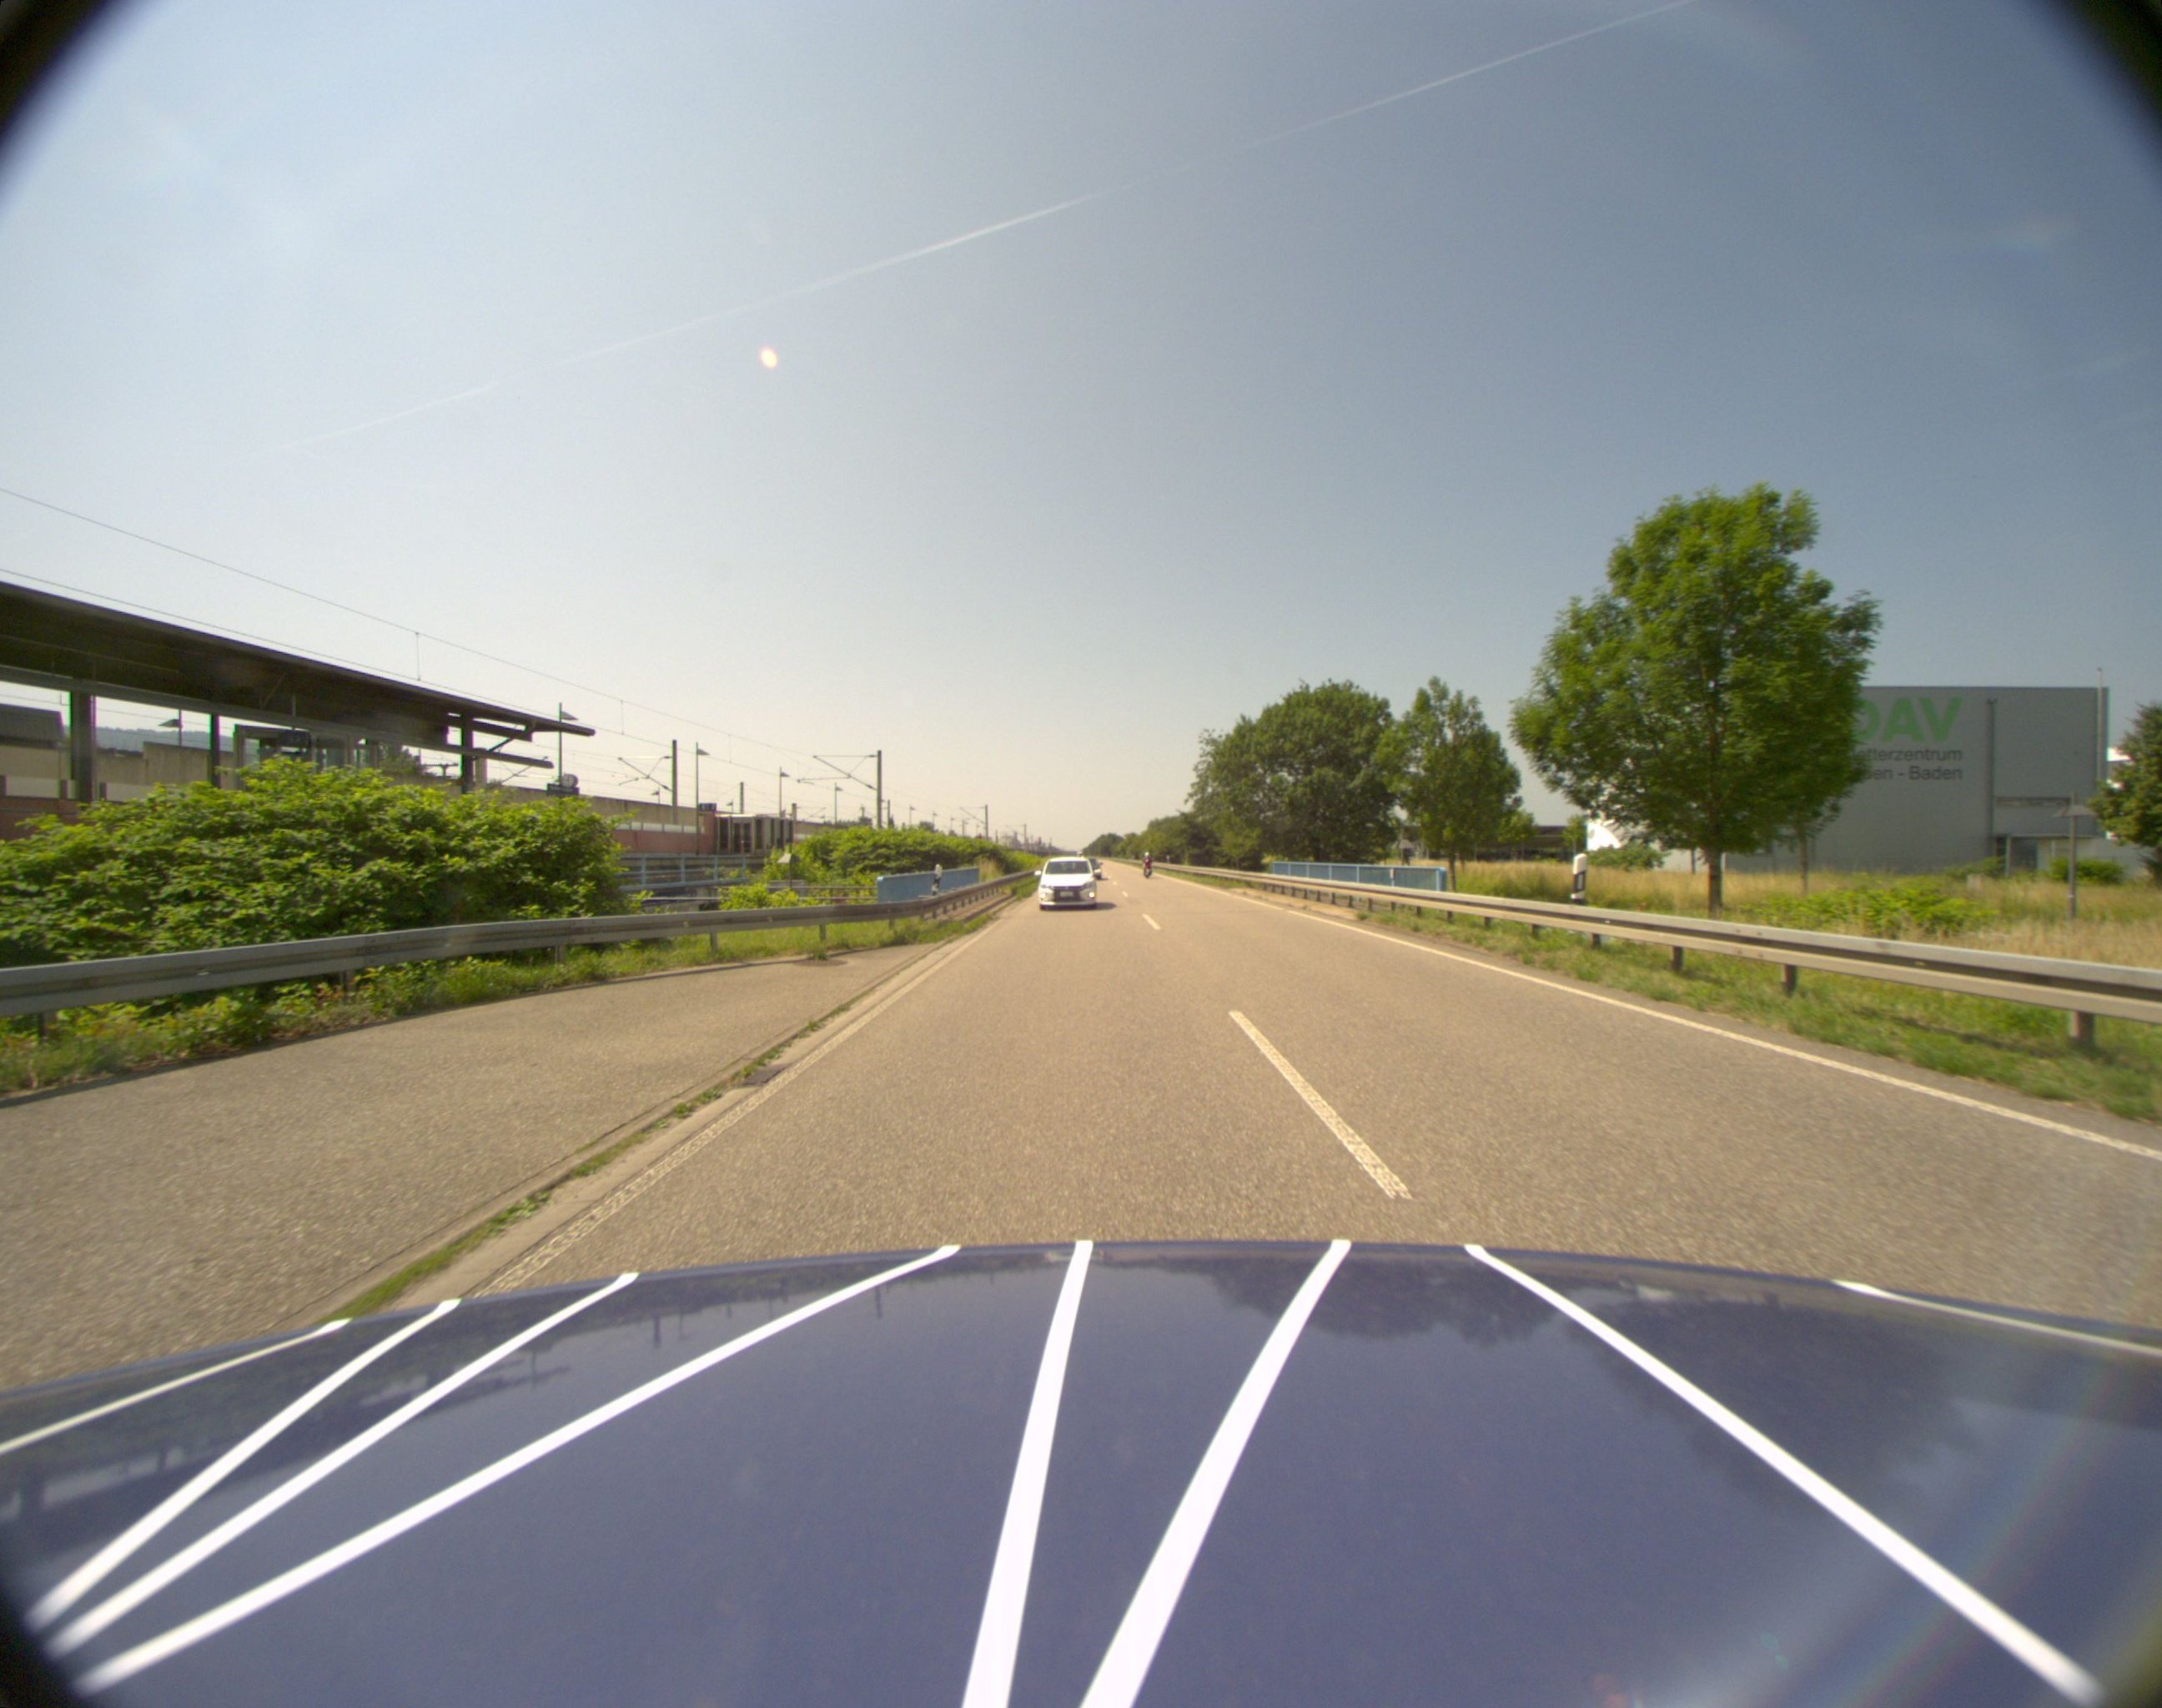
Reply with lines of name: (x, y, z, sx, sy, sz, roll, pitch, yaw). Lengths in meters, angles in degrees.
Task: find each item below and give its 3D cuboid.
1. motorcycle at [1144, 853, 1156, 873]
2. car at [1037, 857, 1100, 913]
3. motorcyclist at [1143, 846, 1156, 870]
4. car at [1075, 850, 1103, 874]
motorcycle: (4.381, 0.538, 48.448, 0.690, 1.227, 2.370, -2, 0, 3)
car: (-0.395, 0.871, 23.047, 1.701, 1.470, 4.154, -1, 0, -1)
motorcyclist: (4.376, 0.246, 48.634, 0.728, 1.456, 0.987, -1, 1, 3)
car: (0.474, 0.507, 50.890, 1.711, 1.470, 4.154, -1, 0, -1)
